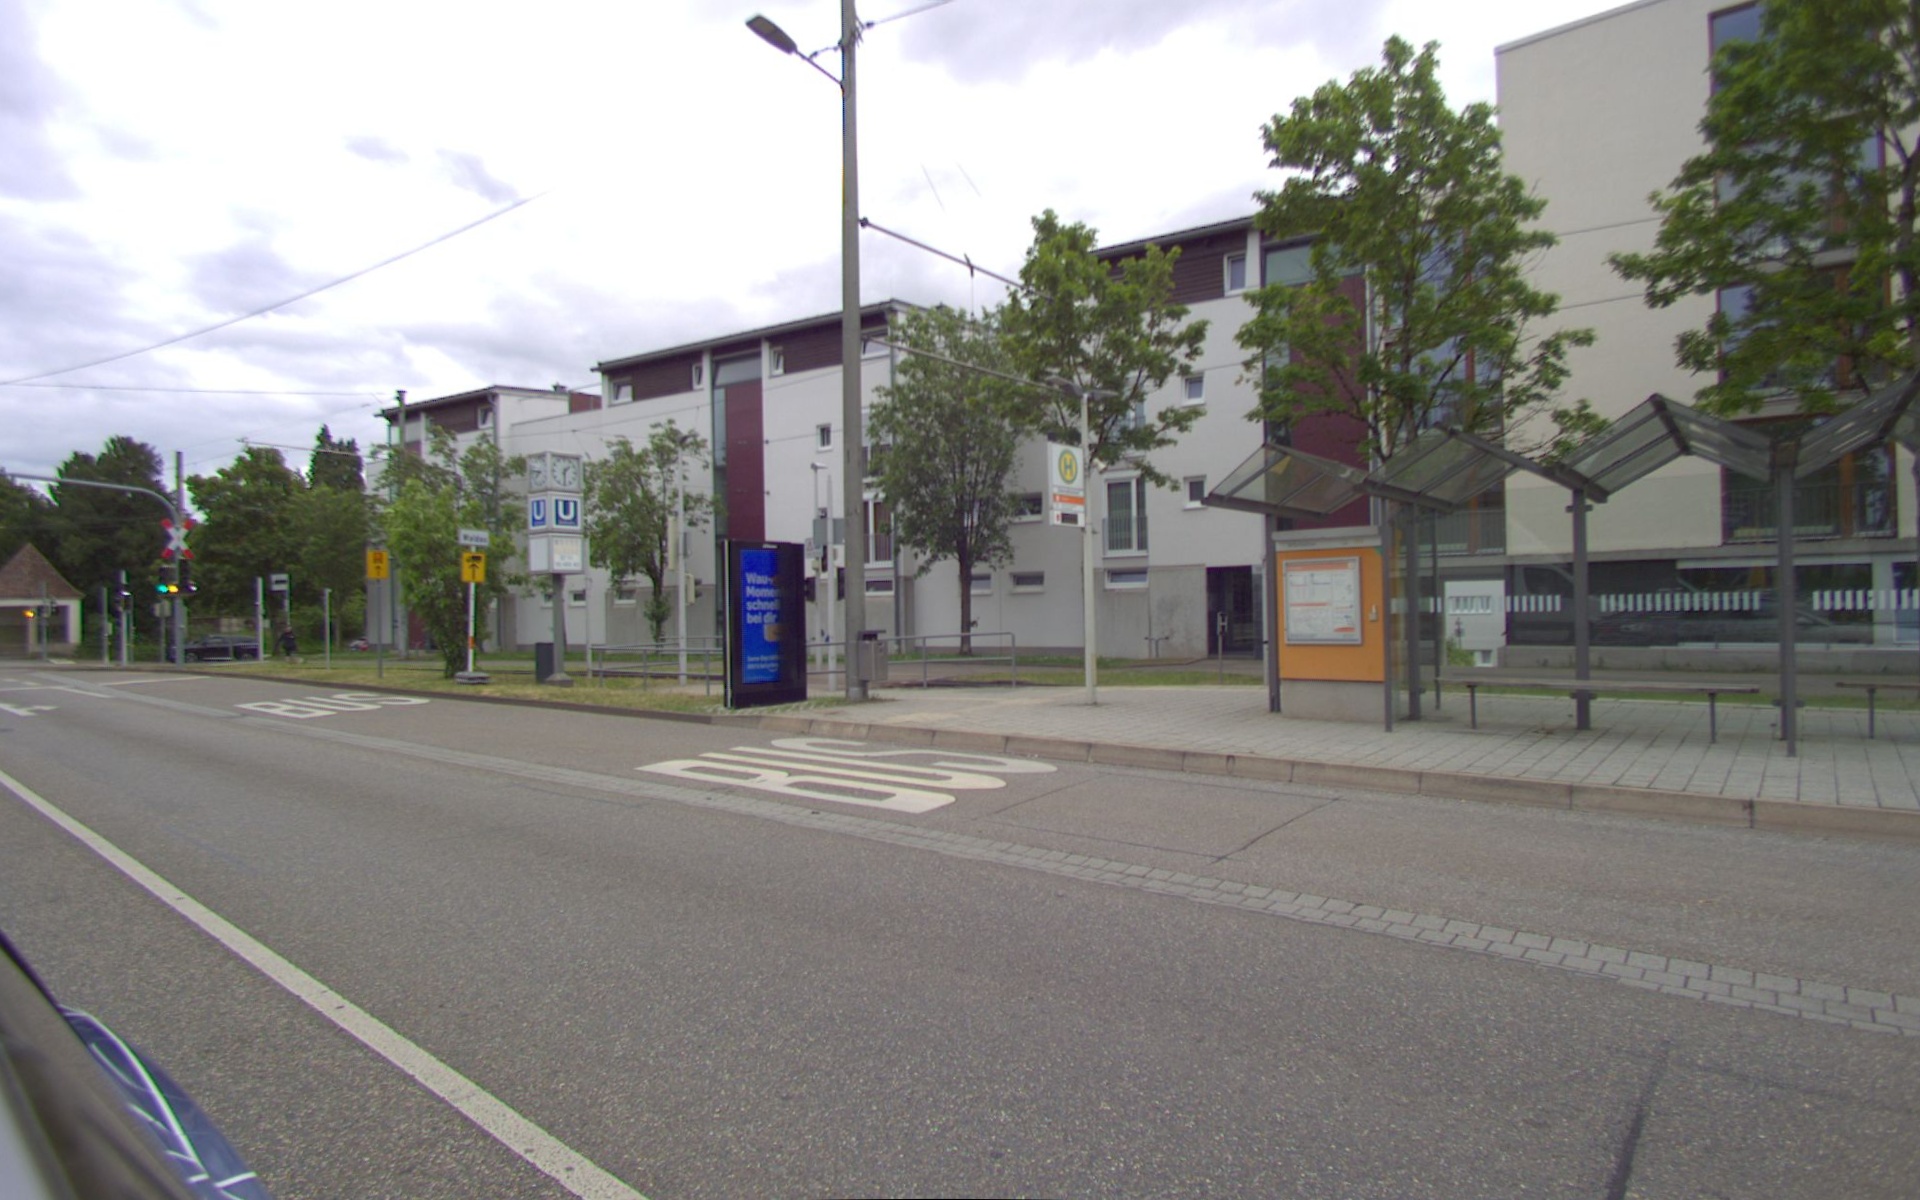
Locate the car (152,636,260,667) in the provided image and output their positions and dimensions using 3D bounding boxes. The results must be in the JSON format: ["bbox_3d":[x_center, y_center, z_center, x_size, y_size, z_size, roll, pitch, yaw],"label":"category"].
[{"bbox_3d":[-42.561,2.925,57.217,1.959,1.682,4.439,-1,-4,32],"label":"car"}]

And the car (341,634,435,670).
[{"bbox_3d":[-34.150,3.151,60.525,1.994,2.029,4.419,-1,-5,33],"label":"car"}]

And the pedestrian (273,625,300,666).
[{"bbox_3d":[-27.936,1.875,41.961,0.817,1.657,0.669,-4,-4,34],"label":"pedestrian"}]
